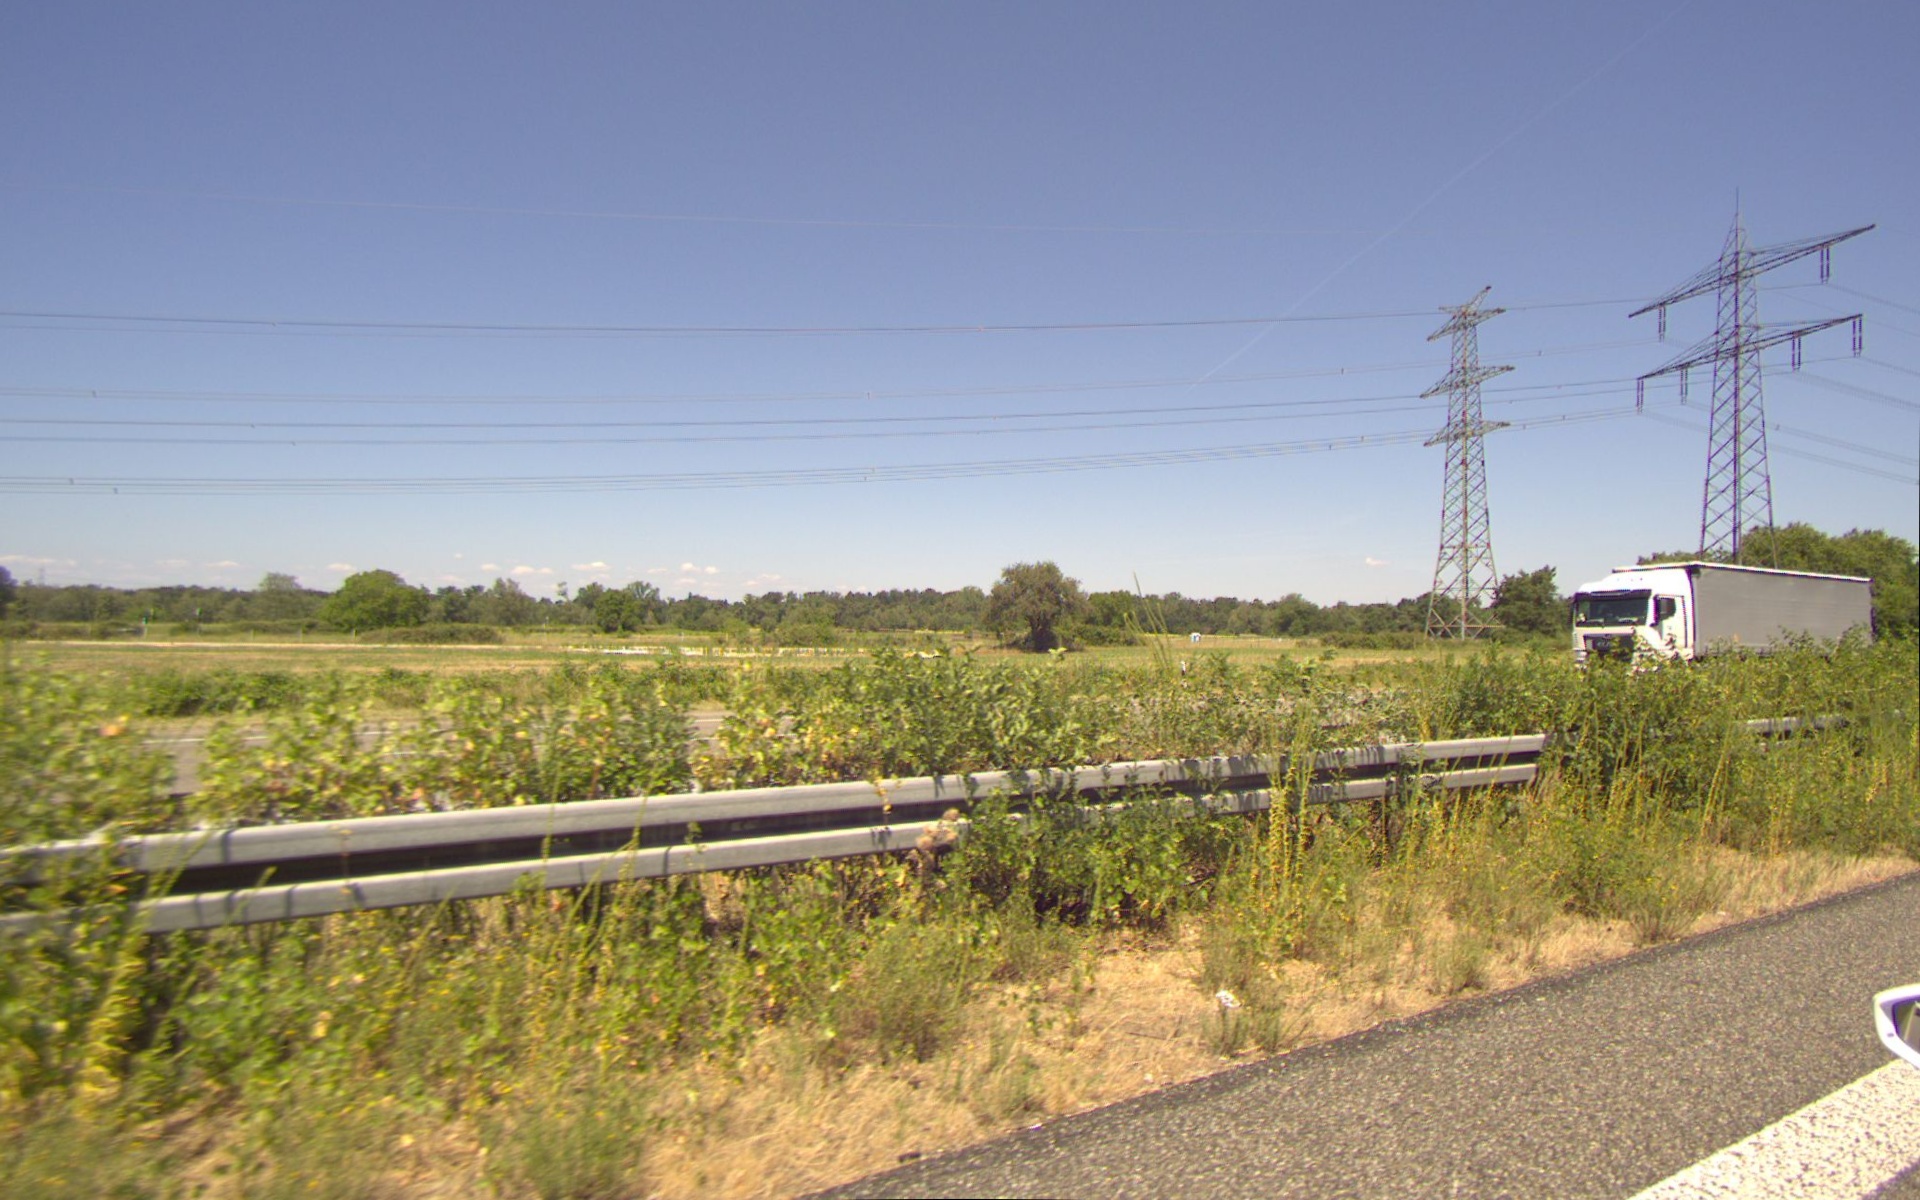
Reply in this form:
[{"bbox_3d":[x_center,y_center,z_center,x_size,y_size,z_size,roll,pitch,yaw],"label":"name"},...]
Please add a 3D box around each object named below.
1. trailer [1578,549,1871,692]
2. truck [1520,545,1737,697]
[{"bbox_3d":[28.056,0.896,36.468,14.155,4.466,3.352,2,-4,-31],"label":"trailer"},{"bbox_3d":[21.771,0.765,32.705,6.480,4.466,3.352,1,-3,-31],"label":"truck"}]
